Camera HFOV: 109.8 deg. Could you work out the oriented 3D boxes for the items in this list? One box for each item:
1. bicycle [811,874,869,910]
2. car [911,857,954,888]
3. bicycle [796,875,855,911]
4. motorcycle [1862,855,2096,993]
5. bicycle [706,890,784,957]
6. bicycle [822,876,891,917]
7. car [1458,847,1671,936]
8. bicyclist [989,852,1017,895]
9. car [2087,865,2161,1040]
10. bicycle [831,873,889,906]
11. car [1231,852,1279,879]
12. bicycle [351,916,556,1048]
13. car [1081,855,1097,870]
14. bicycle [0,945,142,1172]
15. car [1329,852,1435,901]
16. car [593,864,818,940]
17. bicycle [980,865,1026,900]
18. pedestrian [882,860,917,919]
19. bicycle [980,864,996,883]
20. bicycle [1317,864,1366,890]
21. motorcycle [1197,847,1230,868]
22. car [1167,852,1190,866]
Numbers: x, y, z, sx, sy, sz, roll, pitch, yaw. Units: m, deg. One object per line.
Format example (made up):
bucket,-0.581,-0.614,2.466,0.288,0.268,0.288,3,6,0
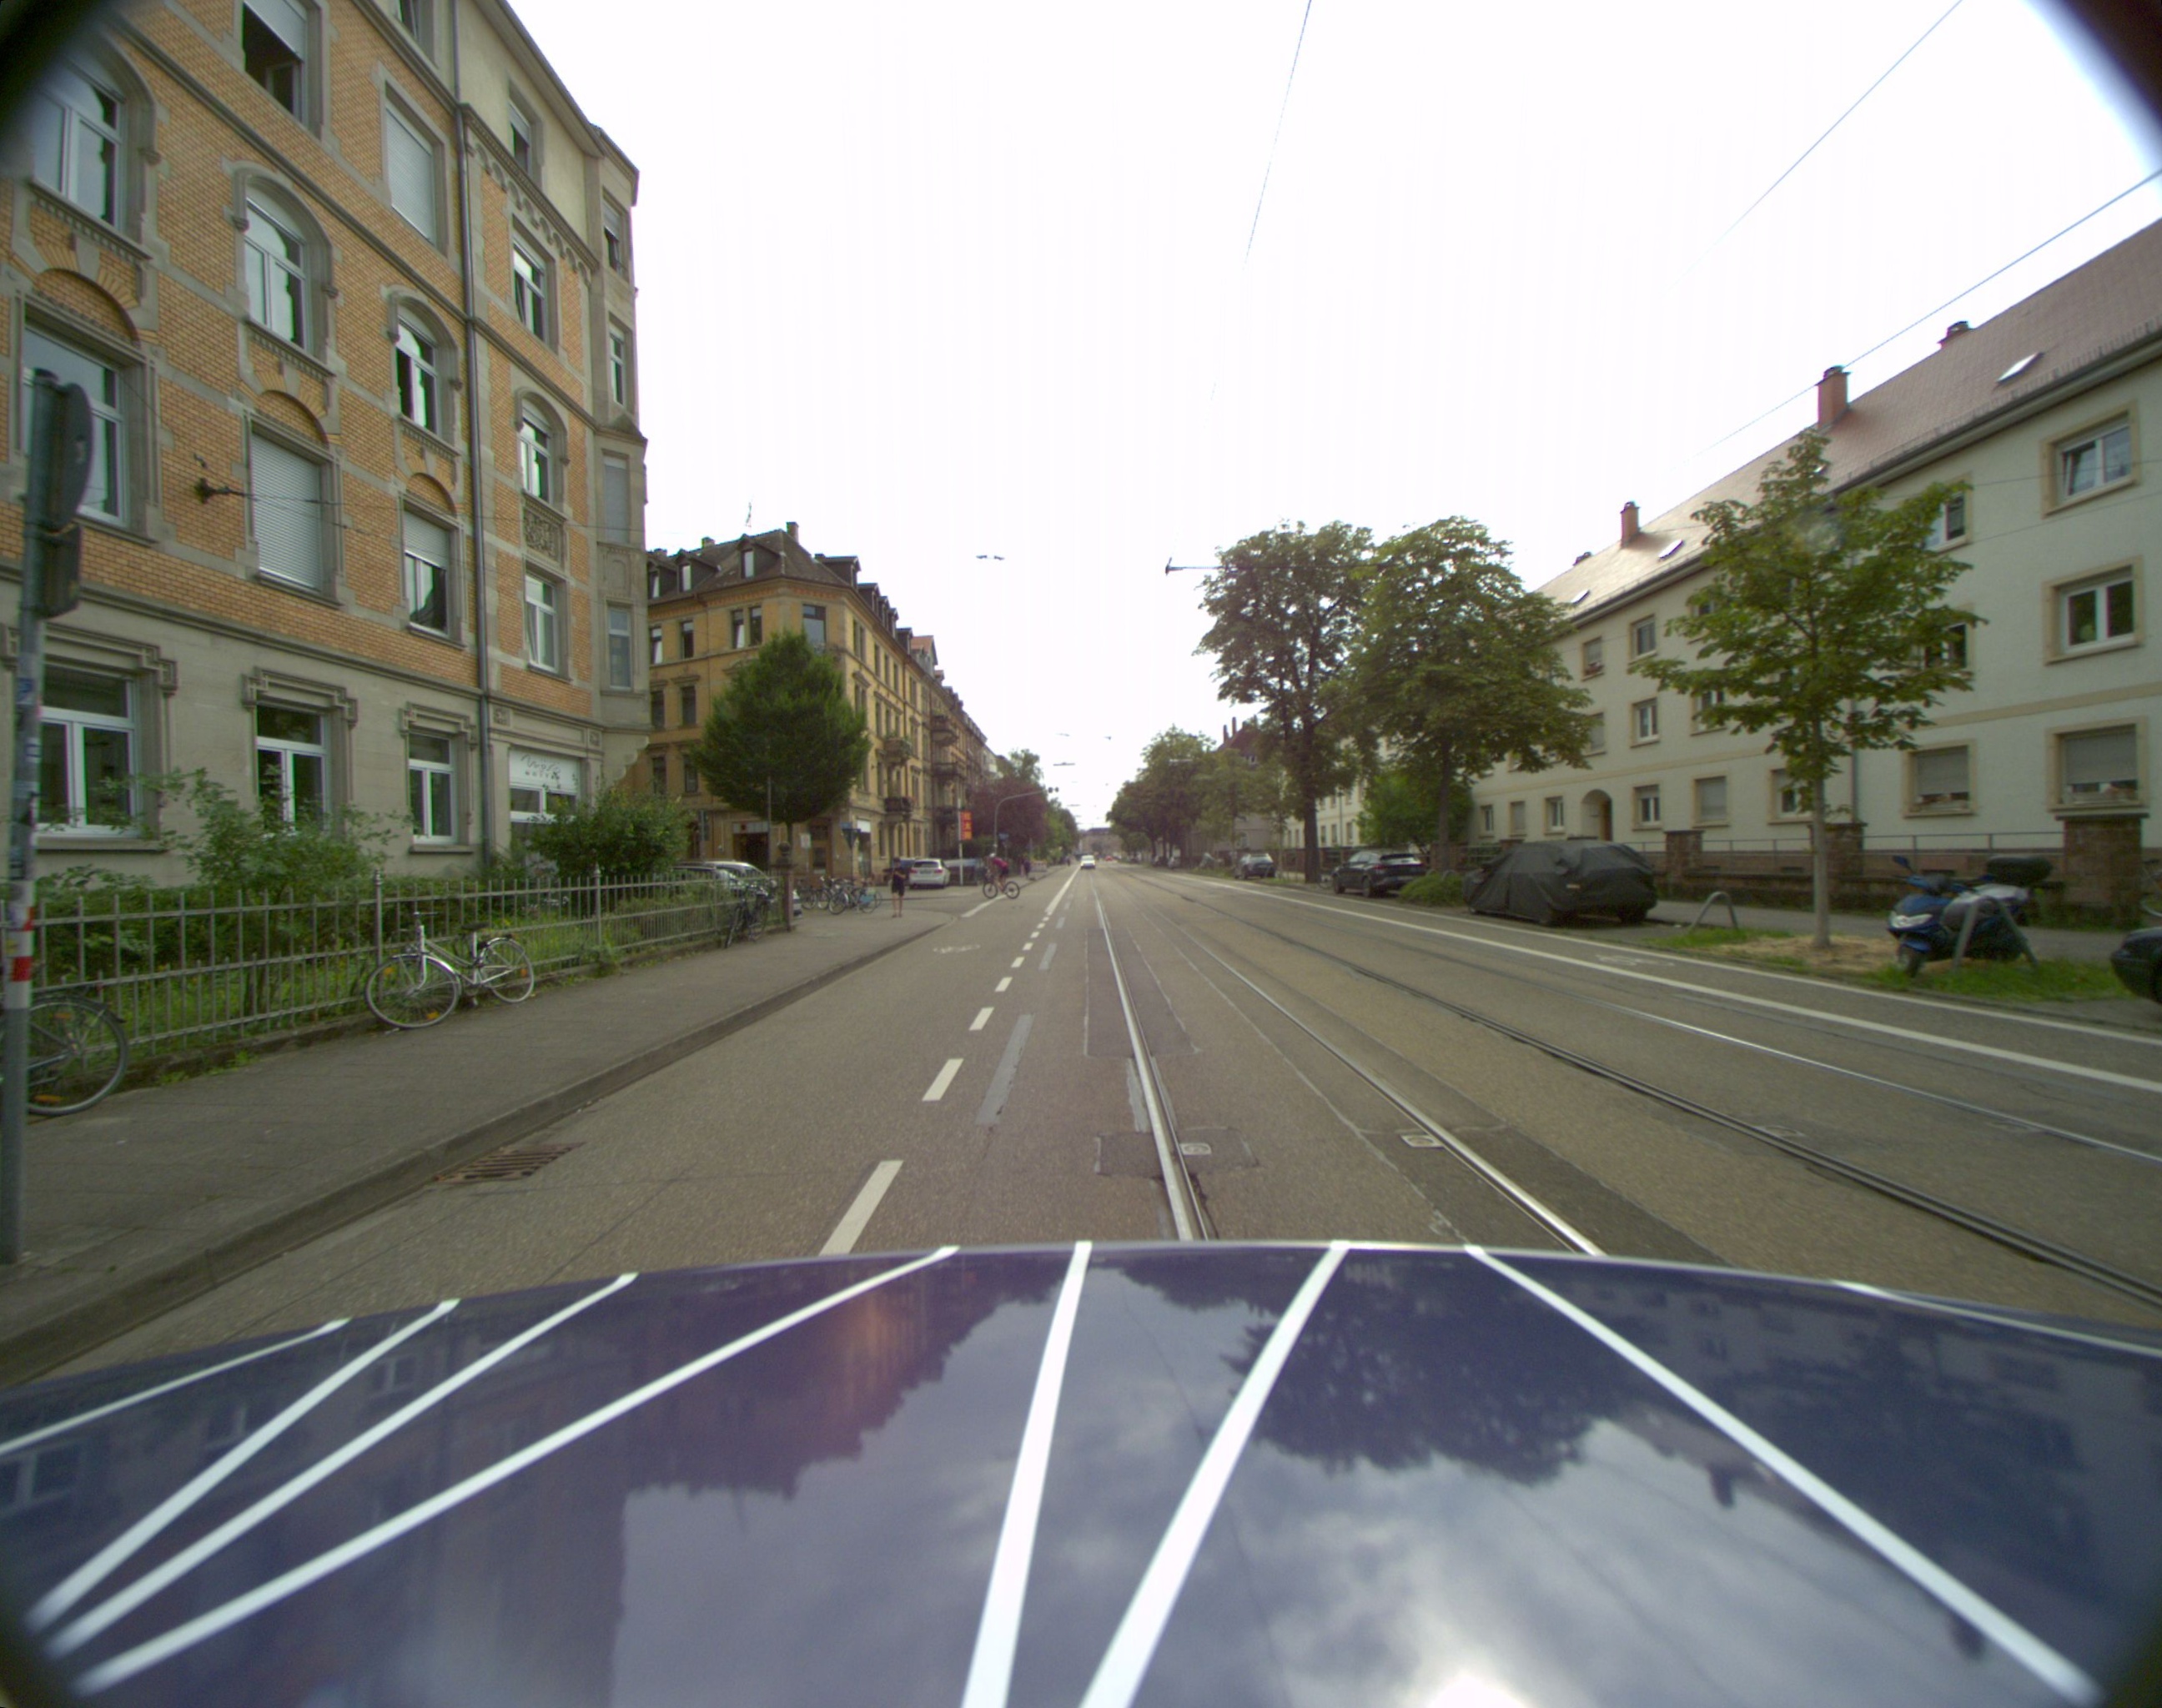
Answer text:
bicycle,-7.919,1.251,24.962,1.889,1.121,0.533,-1,1,22
car,-7.833,0.948,40.335,1.757,1.516,3.998,-1,0,-5
bicycle,-8.189,1.237,24.338,1.889,1.121,0.533,-1,1,23
motorcycle,9.864,0.741,8.375,1.871,1.253,0.592,-7,1,-3
bicycle,-5.827,1.179,13.266,0.580,0.977,1.672,2,0,0
bicycle,-6.707,1.236,22.766,0.629,1.106,1.878,-1,1,44
car,9.898,0.679,16.026,1.790,1.602,4.300,-1,0,1
bicyclist,-2.995,0.748,29.164,0.857,1.590,0.582,-3,-2,28
car,9.751,0.801,4.568,1.701,1.415,4.300,-3,0,1
bicycle,-7.581,1.216,26.016,1.890,1.121,0.533,-1,1,17
car,10.126,0.648,44.526,1.701,1.462,4.299,-2,0,-1
bicycle,-5.978,1.170,7.376,0.580,0.977,1.672,2,0,0
car,1.010,1.022,94.766,1.876,1.670,5.131,-1,0,1
bicycle,-5.960,1.112,3.740,0.580,1.105,1.672,2,0,0
car,9.882,0.670,25.301,1.701,1.462,4.299,-1,0,-1
car,-8.543,1.077,17.532,4.296,1.498,1.702,-2,0,1
bicycle,-3.006,1.091,29.171,1.668,1.250,0.582,-3,-2,28
pedestrian,-5.119,0.990,21.485,0.732,1.614,0.835,-1,1,1
bicycle,-5.634,1.161,46.121,0.630,1.106,1.874,-1,0,2
bicycle,10.234,0.882,29.889,1.672,0.965,0.672,-1,1,-8
motorcycle,10.482,0.309,60.113,2.312,1.382,0.838,-6,1,33
car,10.505,0.558,82.012,1.732,1.462,4.299,-1,0,-1
